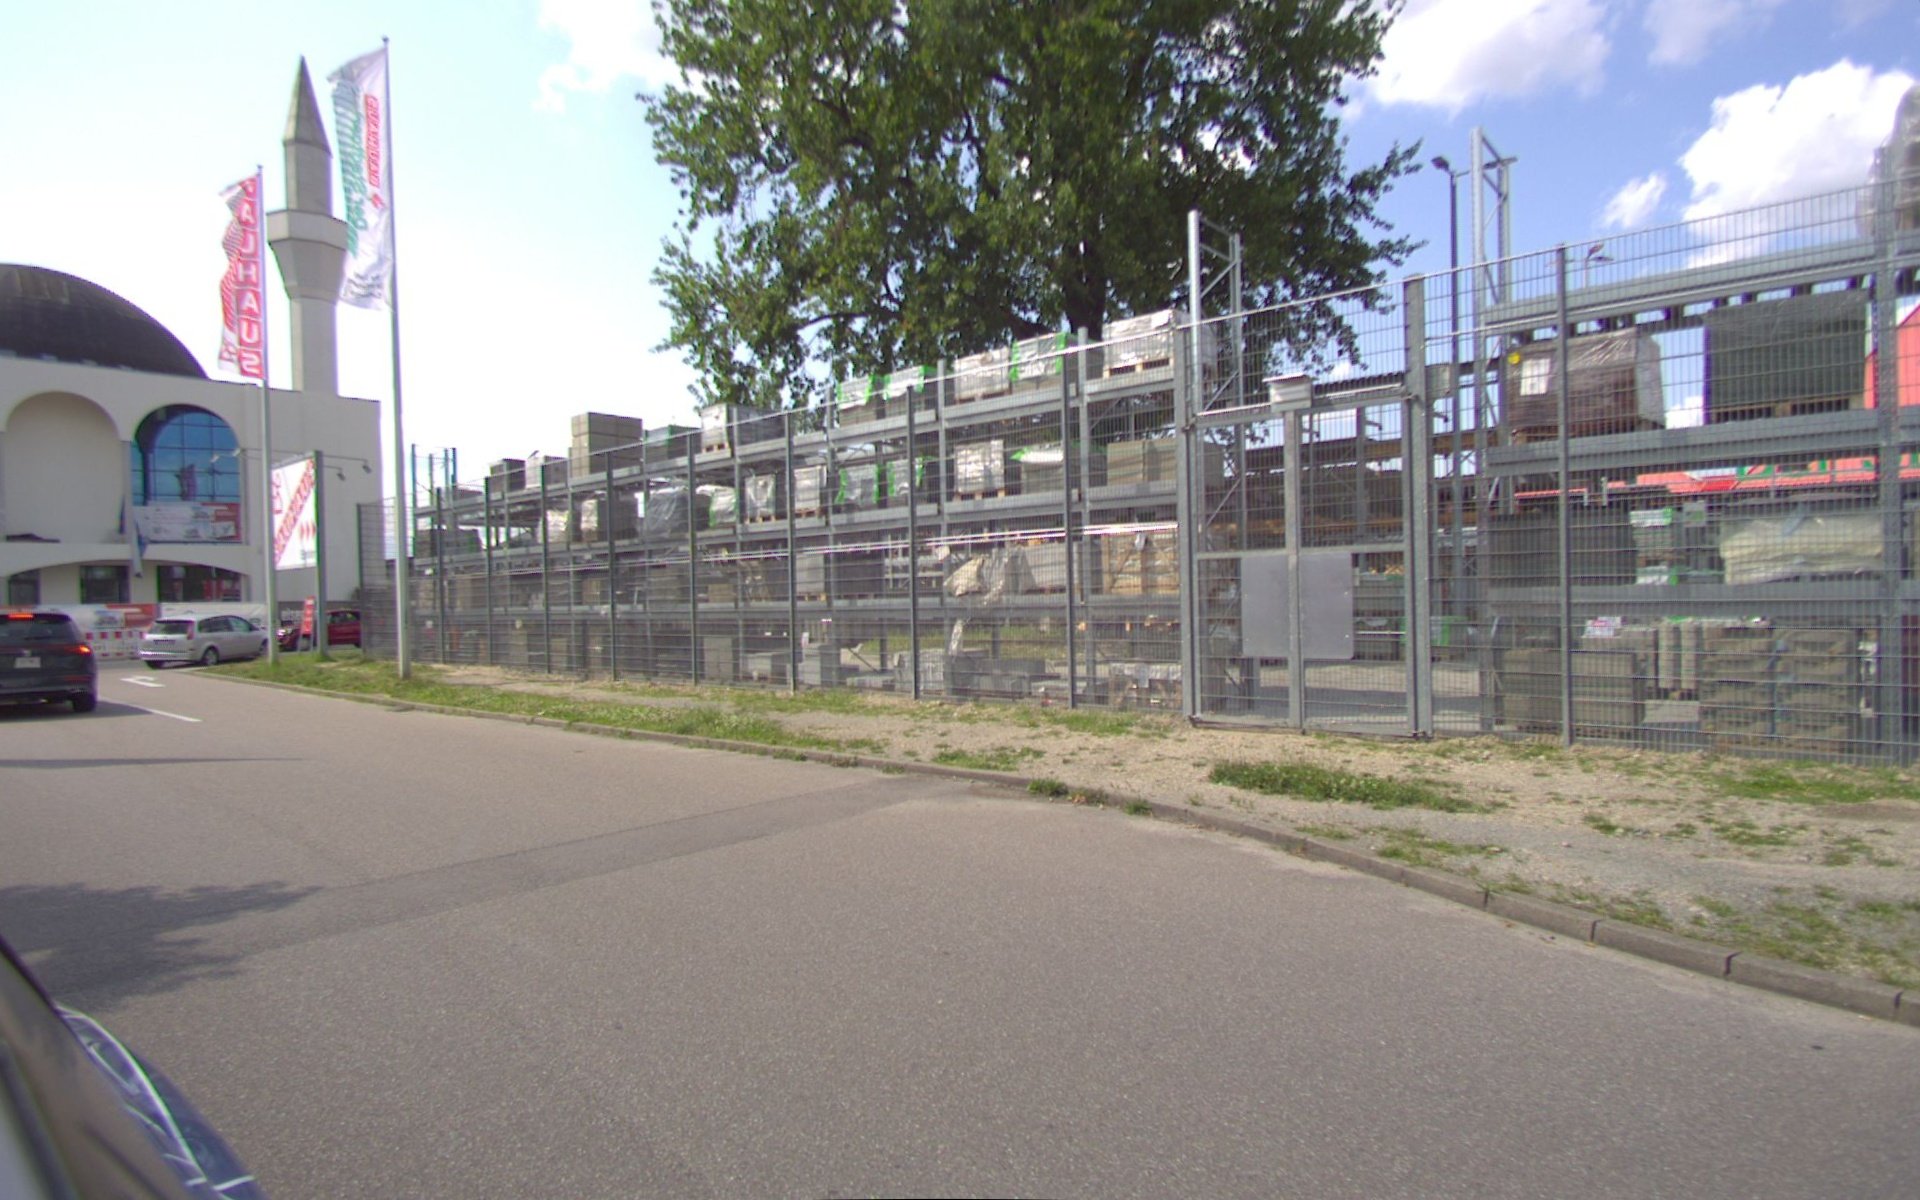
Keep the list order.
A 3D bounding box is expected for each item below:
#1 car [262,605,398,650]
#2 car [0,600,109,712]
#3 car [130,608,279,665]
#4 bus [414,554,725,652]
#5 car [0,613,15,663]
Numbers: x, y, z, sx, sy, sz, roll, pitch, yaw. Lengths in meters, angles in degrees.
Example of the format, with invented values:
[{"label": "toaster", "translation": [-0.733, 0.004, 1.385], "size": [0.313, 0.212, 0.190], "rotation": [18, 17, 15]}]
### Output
[{"label": "car", "translation": [-24.216, 1.021, 39.004], "size": [1.791, 1.521, 4.136], "rotation": [-1, 0, 42]}, {"label": "car", "translation": [-15.513, 0.867, 16.417], "size": [4.370, 1.630, 1.896], "rotation": [-2, -1, 40]}, {"label": "car", "translation": [-23.403, 1.069, 31.546], "size": [1.697, 1.576, 4.213], "rotation": [-1, 0, -4]}, {"label": "bus", "translation": [-14.953, 0.011, 40.078], "size": [2.892, 3.389, 11.410], "rotation": [-1, 0, 42]}, {"label": "car", "translation": [-31.416, 1.226, 30.503], "size": [1.696, 1.525, 4.139], "rotation": [-1, 0, 41]}]
